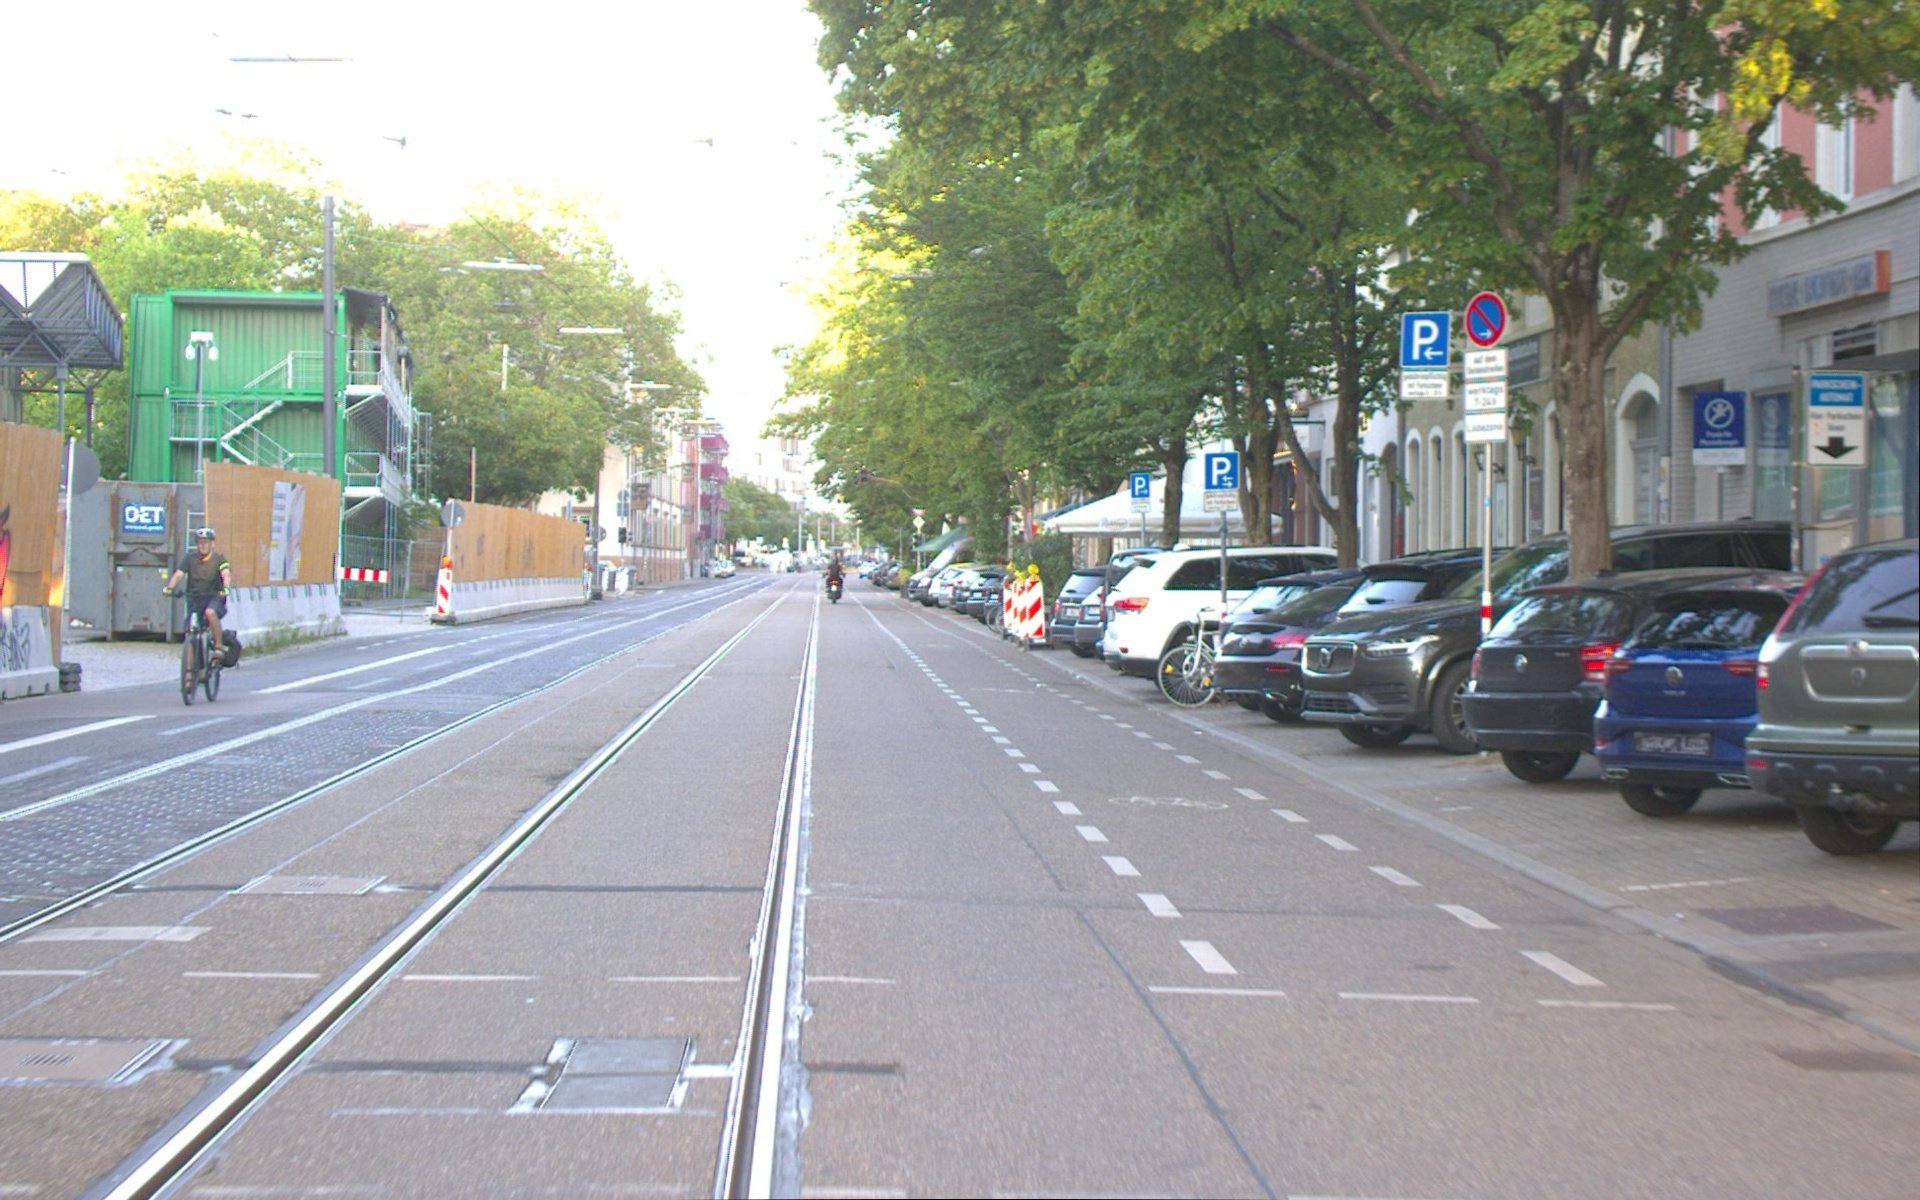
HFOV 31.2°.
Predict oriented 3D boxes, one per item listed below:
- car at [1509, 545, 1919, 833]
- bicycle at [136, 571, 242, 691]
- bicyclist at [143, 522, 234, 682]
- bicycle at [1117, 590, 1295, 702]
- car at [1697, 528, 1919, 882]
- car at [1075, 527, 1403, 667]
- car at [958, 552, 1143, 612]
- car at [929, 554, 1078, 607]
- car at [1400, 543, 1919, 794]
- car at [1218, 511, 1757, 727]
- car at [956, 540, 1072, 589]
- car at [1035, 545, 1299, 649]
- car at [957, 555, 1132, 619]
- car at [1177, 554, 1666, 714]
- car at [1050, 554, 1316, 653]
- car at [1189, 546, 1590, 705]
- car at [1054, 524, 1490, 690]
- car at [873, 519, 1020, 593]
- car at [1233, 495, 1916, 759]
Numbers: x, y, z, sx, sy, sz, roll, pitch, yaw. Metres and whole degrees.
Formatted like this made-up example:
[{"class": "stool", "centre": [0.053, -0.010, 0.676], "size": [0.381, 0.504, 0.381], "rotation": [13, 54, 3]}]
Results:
[{"class": "car", "centre": [5.429, 0.456, 20.812], "size": [3.882, 1.497, 1.813], "rotation": [-3, 1, -33]}, {"class": "bicycle", "centre": [-8.126, 0.313, 36.298], "size": [0.768, 1.224, 1.936], "rotation": [0, 1, -2]}, {"class": "bicyclist", "centre": [-8.139, 0.011, 36.278], "size": [0.768, 1.660, 1.018], "rotation": [0, 1, -2]}, {"class": "bicycle", "centre": [2.679, 0.493, 37.419], "size": [1.835, 1.099, 0.498], "rotation": [-3, 2, -16]}, {"class": "car", "centre": [5.975, 0.418, 17.879], "size": [4.155, 1.658, 1.842], "rotation": [-3, 1, -36]}, {"class": "car", "centre": [3.922, -0.064, 48.214], "size": [4.147, 1.800, 2.008], "rotation": [-2, 1, -30]}, {"class": "car", "centre": [2.233, -0.440, 84.627], "size": [4.160, 1.422, 1.824], "rotation": [0, 1, -21]}, {"class": "car", "centre": [1.334, -0.599, 106.852], "size": [4.249, 1.543, 2.020], "rotation": [-1, 0, -13]}, {"class": "car", "centre": [5.338, 0.410, 23.773], "size": [4.154, 1.460, 1.971], "rotation": [-3, 1, -30]}, {"class": "car", "centre": [4.639, 0.136, 30.329], "size": [4.211, 1.643, 1.976], "rotation": [-3, 1, -20]}, {"class": "car", "centre": [1.874, -1.239, 120.300], "size": [3.950, 1.614, 1.921], "rotation": [-1, 0, -1]}, {"class": "car", "centre": [3.391, -0.060, 56.235], "size": [3.961, 1.548, 1.706], "rotation": [-2, 1, -27]}, {"class": "car", "centre": [2.205, -0.343, 89.459], "size": [4.115, 1.465, 1.824], "rotation": [-3, 1, -20]}, {"class": "car", "centre": [4.410, 0.283, 32.865], "size": [4.211, 1.422, 1.976], "rotation": [-1, 1, -24]}, {"class": "car", "centre": [3.484, 0.040, 53.647], "size": [3.772, 1.403, 1.706], "rotation": [-2, 1, -27]}, {"class": "car", "centre": [4.467, 0.240, 35.694], "size": [3.746, 1.422, 1.727], "rotation": [-3, 1, -26]}, {"class": "car", "centre": [3.545, 0.058, 39.564], "size": [4.648, 1.682, 2.008], "rotation": [-2, 1, -6]}, {"class": "car", "centre": [-0.508, -1.649, 128.892], "size": [5.093, 2.633, 2.022], "rotation": [-2, 0, -19]}, {"class": "car", "centre": [4.975, 0.174, 27.927], "size": [4.963, 1.820, 2.209], "rotation": [-3, 1, -20]}]
